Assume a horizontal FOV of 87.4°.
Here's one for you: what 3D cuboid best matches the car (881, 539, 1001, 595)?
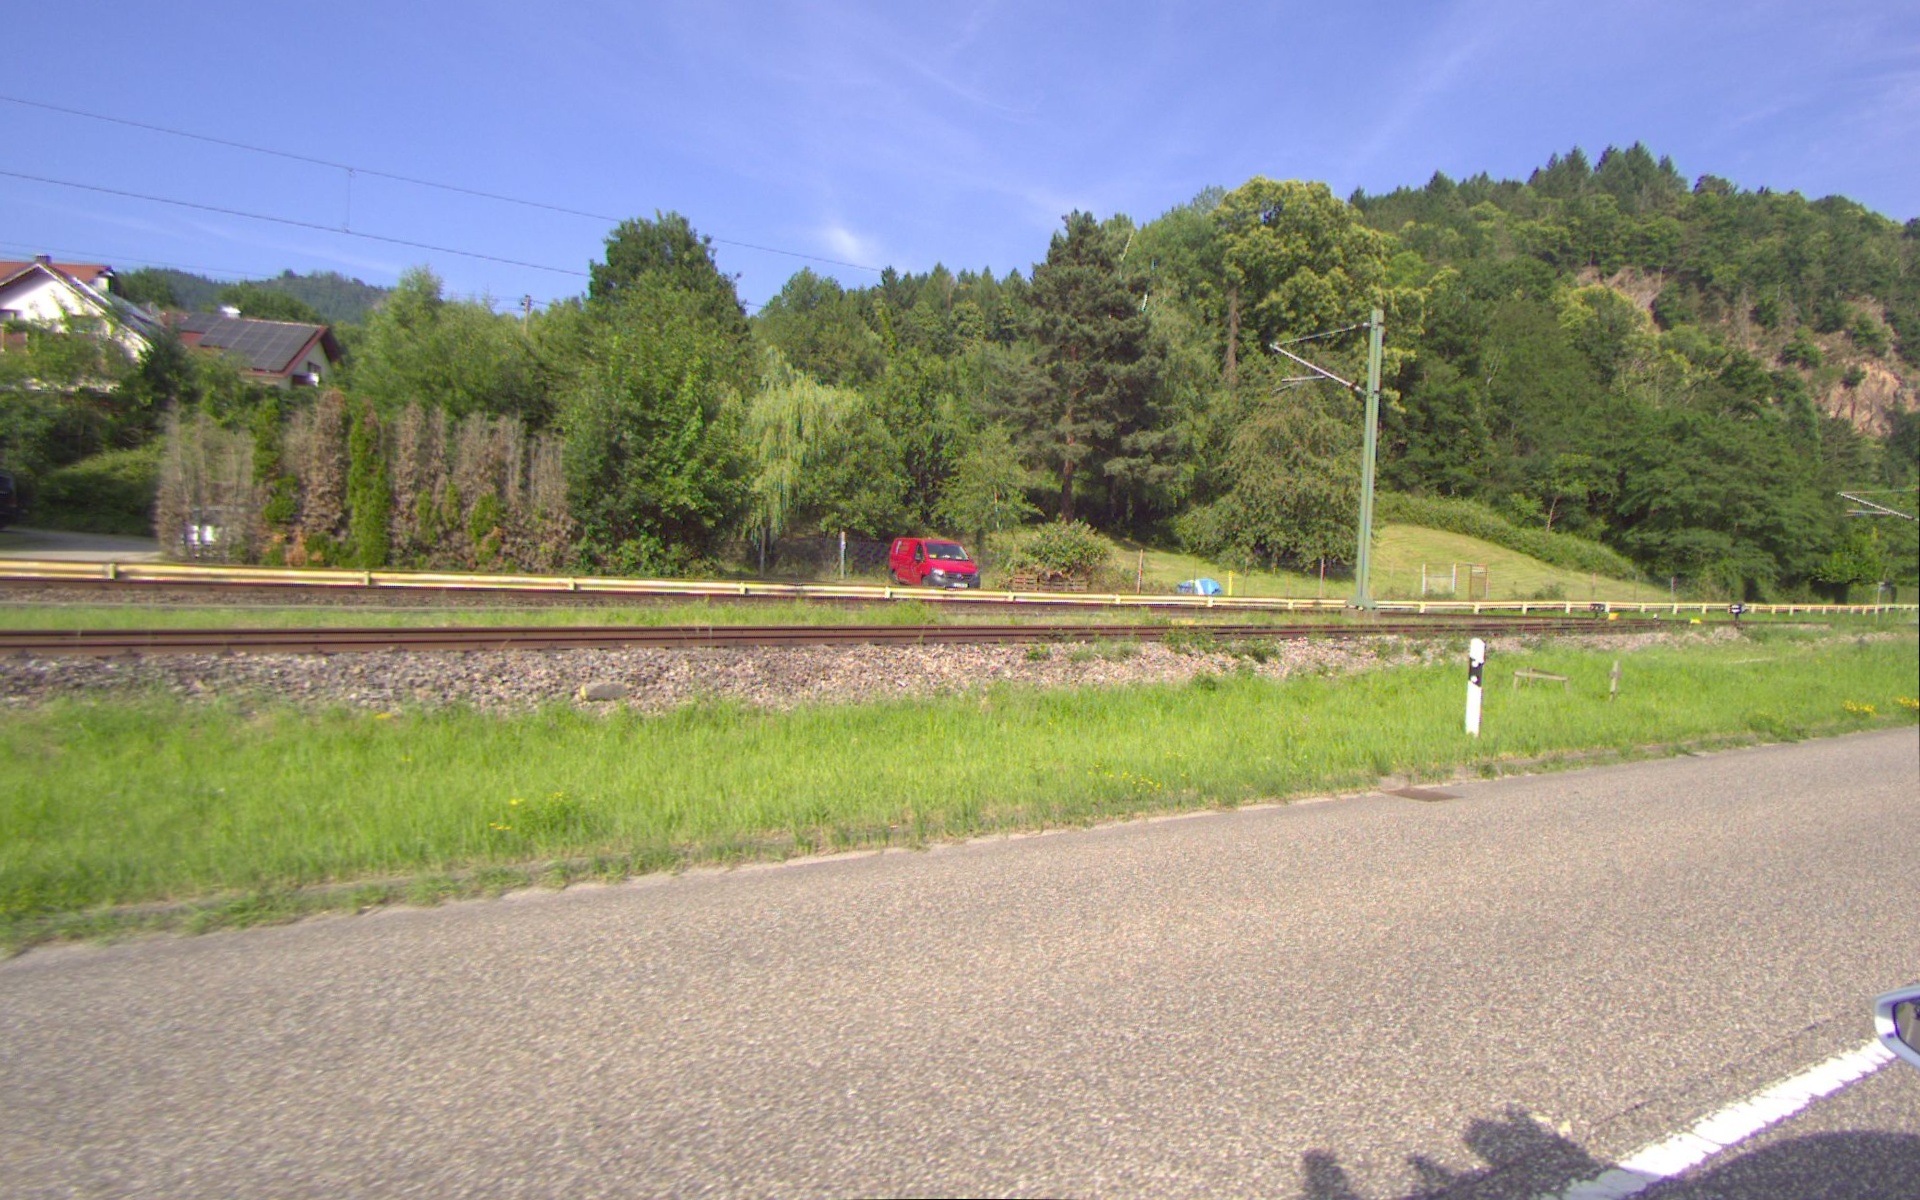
[{"bbox_3d":[-0.771,-1.132,34.829,2.421,1.714,4.952,2,1,-23],"label":"car"}]

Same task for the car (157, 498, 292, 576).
[{"bbox_3d":[-18.407,-1.529,25.343,1.974,1.714,4.130,2,1,-26],"label":"car"}]

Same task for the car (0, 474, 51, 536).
[{"bbox_3d":[-32.717,-3.258,32.150,4.867,1.886,2.216,5,1,-29],"label":"car"}]
